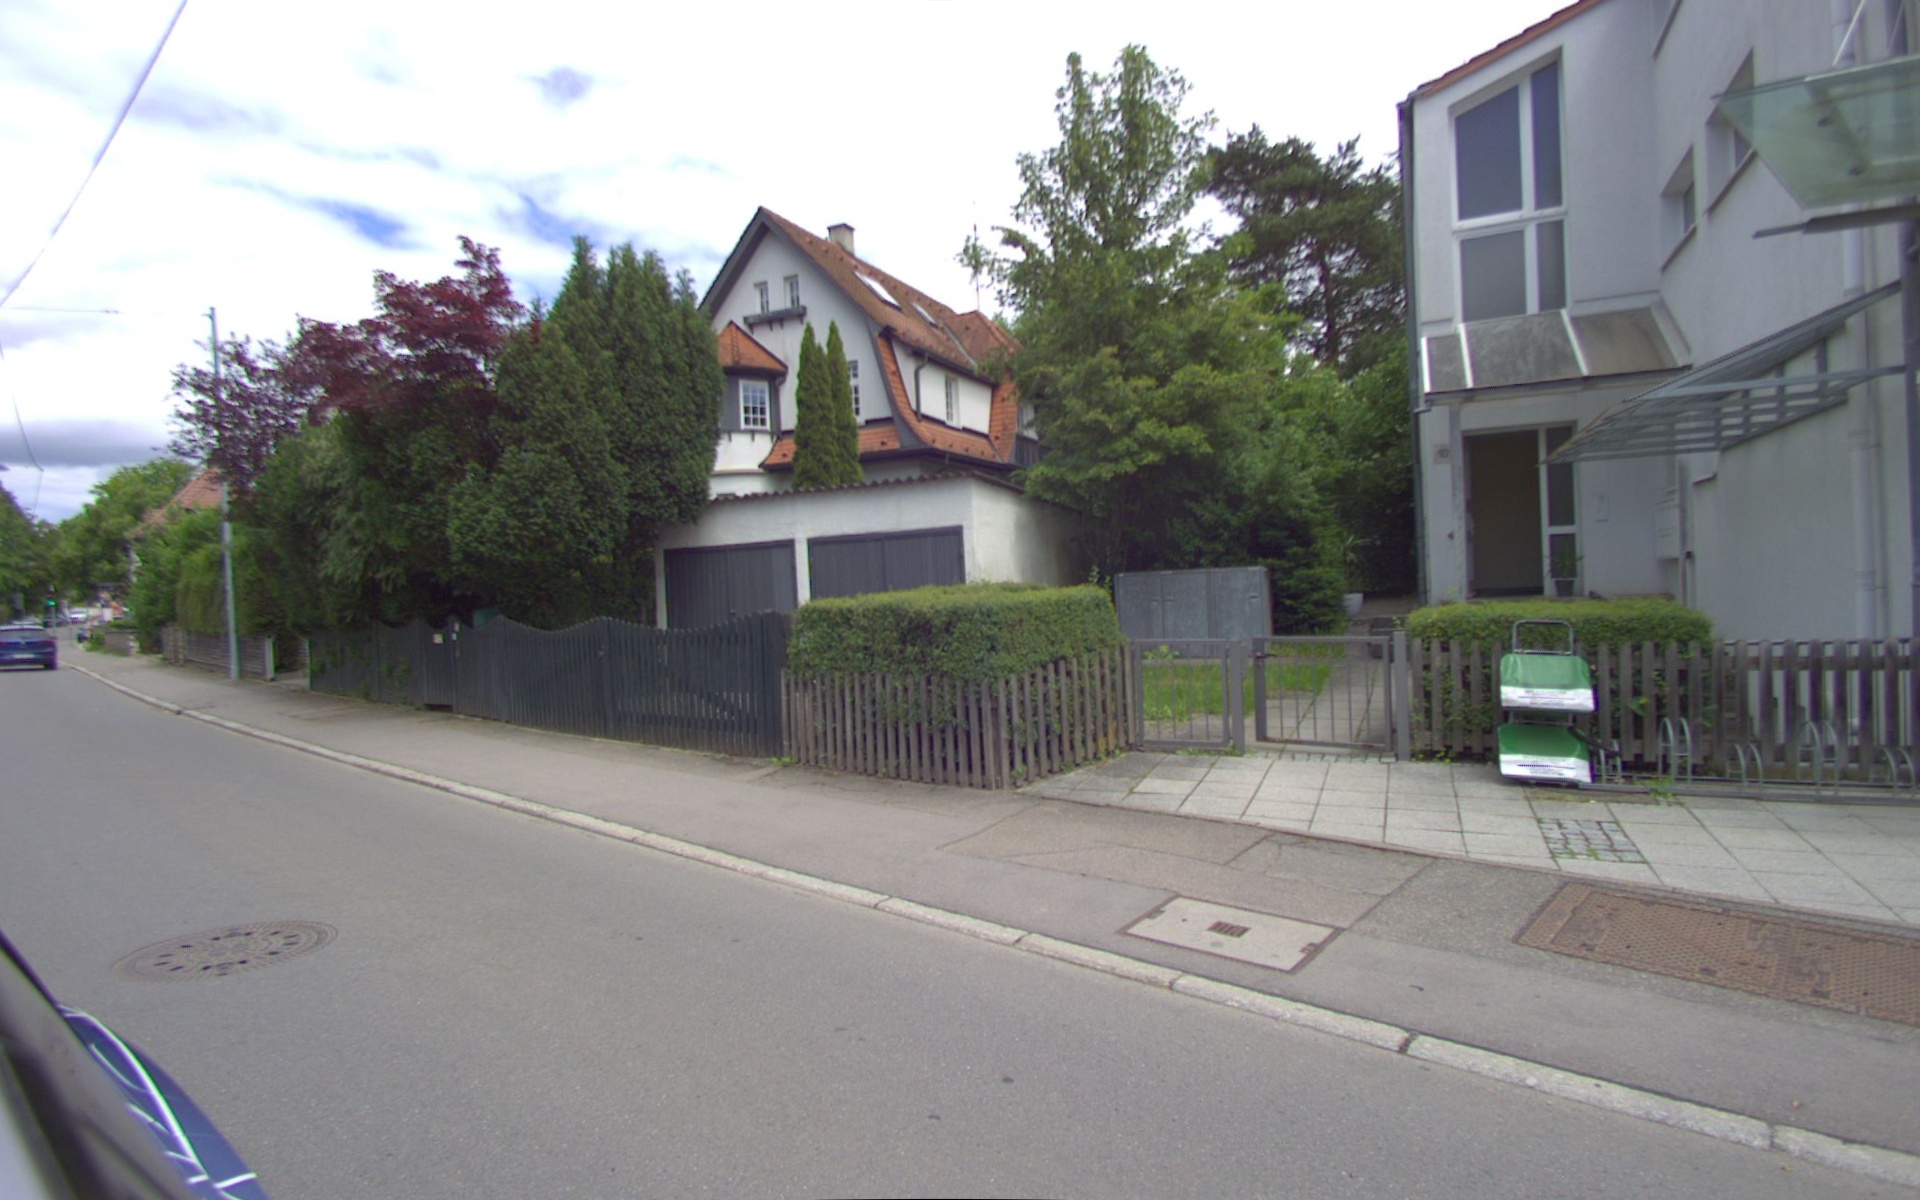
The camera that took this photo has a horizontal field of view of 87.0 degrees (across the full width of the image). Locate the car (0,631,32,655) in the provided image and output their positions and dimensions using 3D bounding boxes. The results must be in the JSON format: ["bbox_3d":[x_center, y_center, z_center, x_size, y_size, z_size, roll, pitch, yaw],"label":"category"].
[{"bbox_3d":[-69.755,3.141,74.553,4.139,1.668,1.820,-1,-2,44],"label":"car"}]

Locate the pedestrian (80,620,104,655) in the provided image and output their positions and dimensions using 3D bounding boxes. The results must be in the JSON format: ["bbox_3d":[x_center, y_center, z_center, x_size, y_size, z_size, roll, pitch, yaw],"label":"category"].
[{"bbox_3d":[-46.140,1.992,53.788,0.810,1.757,0.605,-5,3,-43],"label":"pedestrian"}]

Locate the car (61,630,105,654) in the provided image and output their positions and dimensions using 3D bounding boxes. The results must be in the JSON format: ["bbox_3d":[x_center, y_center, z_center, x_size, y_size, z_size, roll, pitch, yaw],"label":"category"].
[{"bbox_3d":[-60.307,2.891,69.644,1.794,1.361,3.401,-5,3,-33],"label":"car"}]

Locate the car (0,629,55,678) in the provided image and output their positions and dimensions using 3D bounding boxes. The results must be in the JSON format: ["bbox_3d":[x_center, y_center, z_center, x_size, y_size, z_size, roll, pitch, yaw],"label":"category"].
[{"bbox_3d":[-30.522,1.709,32.820,1.674,1.443,3.931,-1,-1,-43],"label":"car"}]

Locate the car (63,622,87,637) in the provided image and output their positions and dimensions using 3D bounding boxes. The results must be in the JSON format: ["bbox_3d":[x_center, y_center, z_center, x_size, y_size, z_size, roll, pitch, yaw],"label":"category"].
[{"bbox_3d":[-110.185,3.625,125.948,1.971,1.709,4.003,-5,3,-44],"label":"car"}]
